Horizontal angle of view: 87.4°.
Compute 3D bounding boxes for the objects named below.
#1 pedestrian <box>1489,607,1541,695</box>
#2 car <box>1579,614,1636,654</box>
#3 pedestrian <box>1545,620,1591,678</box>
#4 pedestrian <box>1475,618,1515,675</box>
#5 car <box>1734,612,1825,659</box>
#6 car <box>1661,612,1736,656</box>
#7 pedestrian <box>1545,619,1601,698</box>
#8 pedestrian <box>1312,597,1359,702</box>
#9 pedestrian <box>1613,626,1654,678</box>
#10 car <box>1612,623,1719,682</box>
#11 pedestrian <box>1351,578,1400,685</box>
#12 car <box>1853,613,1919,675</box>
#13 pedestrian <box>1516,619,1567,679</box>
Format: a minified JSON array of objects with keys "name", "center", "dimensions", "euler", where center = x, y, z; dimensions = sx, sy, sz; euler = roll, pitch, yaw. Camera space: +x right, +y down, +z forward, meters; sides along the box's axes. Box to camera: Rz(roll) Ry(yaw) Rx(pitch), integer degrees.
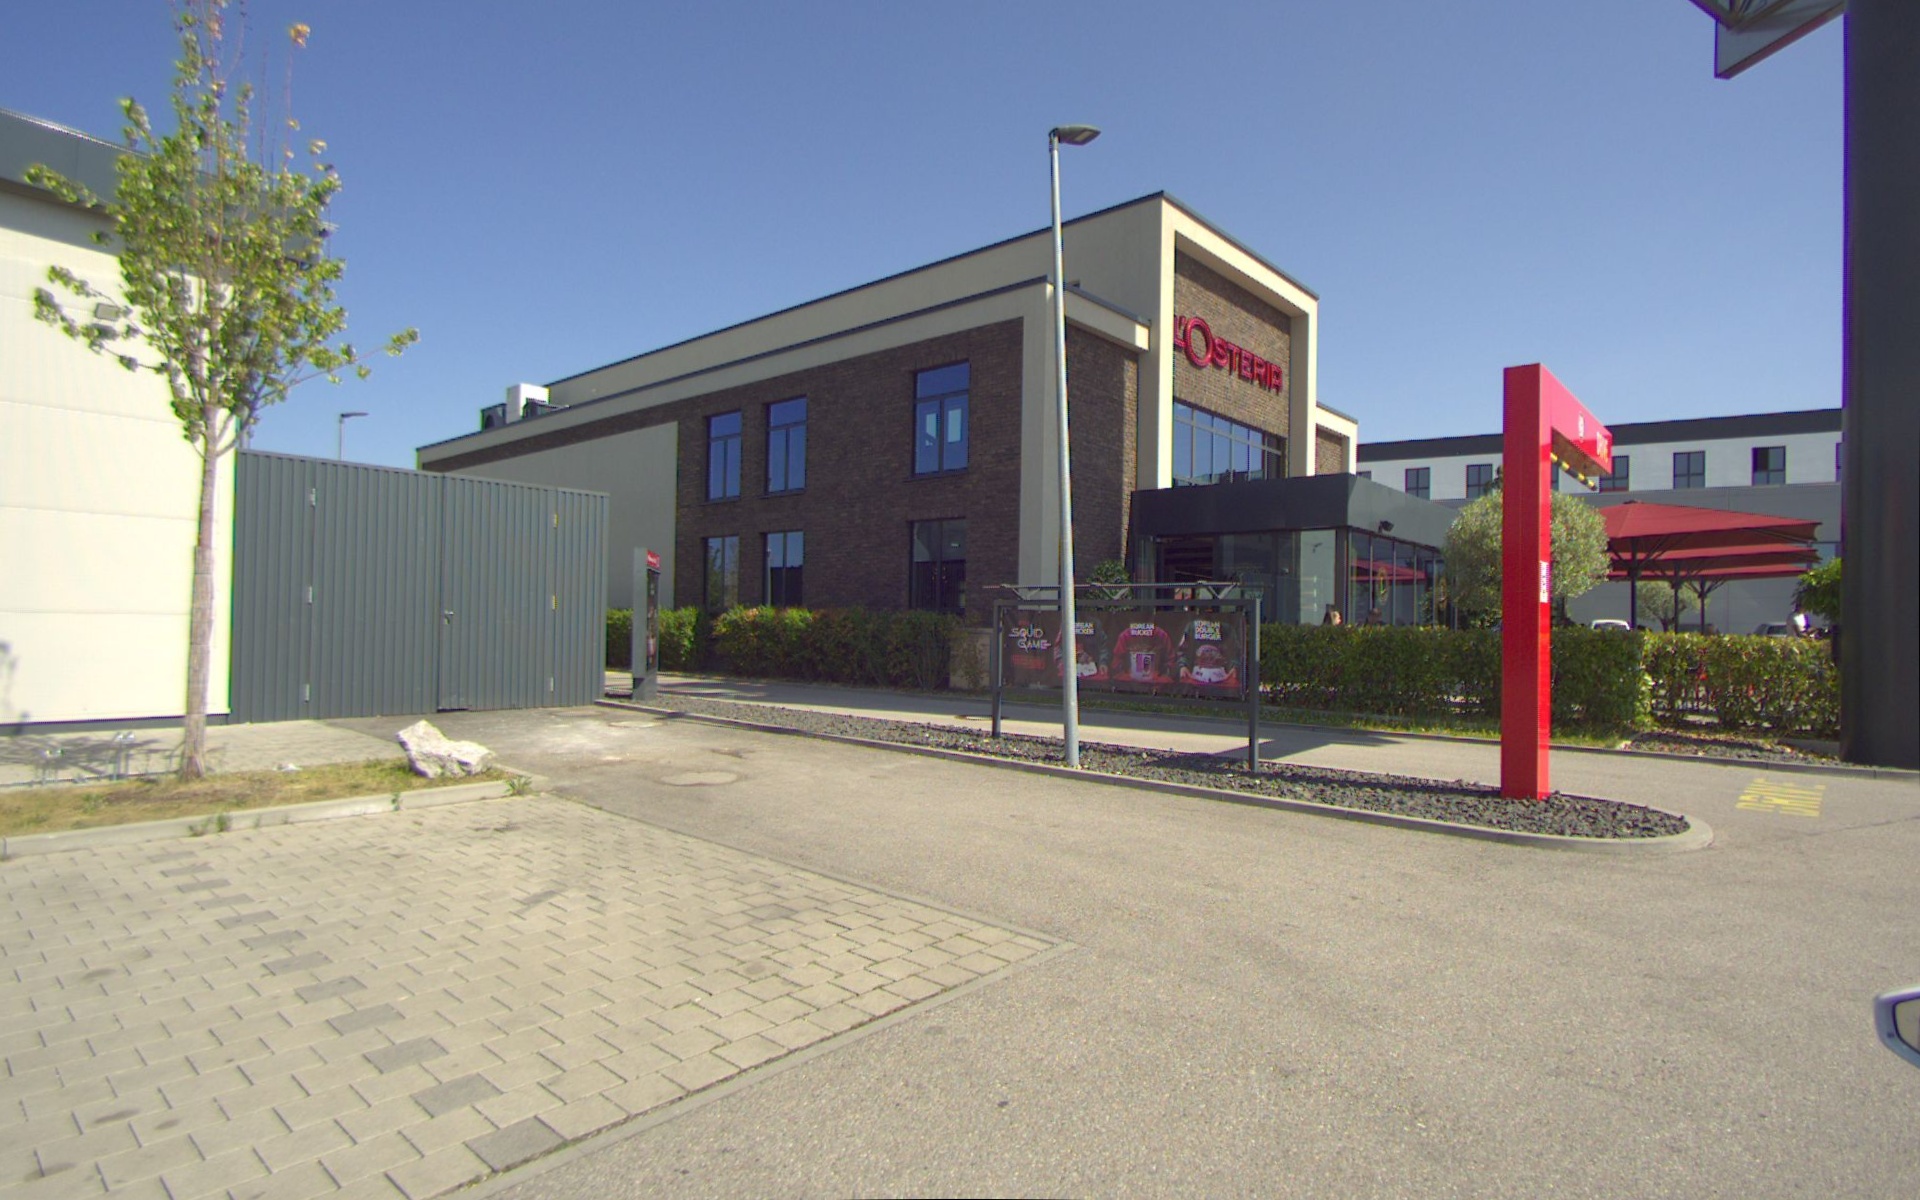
[{"name":"pedestrian","center":[8.958,0.810,16.217],"dimensions":[0.637,1.385,0.482],"euler":[0,0,17]},{"name":"car","center":[25.840,1.316,40.174],"dimensions":[1.706,1.507,3.944],"euler":[0,-1,30]},{"name":"pedestrian","center":[13.039,1.042,21.544],"dimensions":[0.611,1.214,0.702],"euler":[1,0,-40]},{"name":"pedestrian","center":[11.573,0.989,21.737],"dimensions":[0.698,1.214,0.666],"euler":[0,0,34]},{"name":"car","center":[30.398,1.269,37.385],"dimensions":[1.919,1.607,4.368],"euler":[0,-1,30]},{"name":"car","center":[28.212,1.261,38.506],"dimensions":[1.852,1.607,4.101],"euler":[0,-1,30]},{"name":"pedestrian","center":[9.570,0.908,15.704],"dimensions":[0.637,1.201,0.482],"euler":[0,0,17]},{"name":"pedestrian","center":[5.624,0.727,15.043],"dimensions":[0.518,1.525,0.566],"euler":[0,0,39]},{"name":"pedestrian","center":[14.667,1.124,21.886],"dimensions":[0.539,1.104,0.573],"euler":[0,0,-32]},{"name":"car","center":[17.582,1.256,24.976],"dimensions":[1.625,1.326,3.818],"euler":[-1,-2,44]},{"name":"pedestrian","center":[6.070,0.448,14.667],"dimensions":[0.518,1.525,0.566],"euler":[0,0,39]},{"name":"car","center":[25.568,1.132,26.652],"dimensions":[1.919,1.551,4.368],"euler":[0,-1,30]},{"name":"pedestrian","center":[12.115,1.005,20.951],"dimensions":[0.606,1.214,0.708],"euler":[0,0,-12]}]
